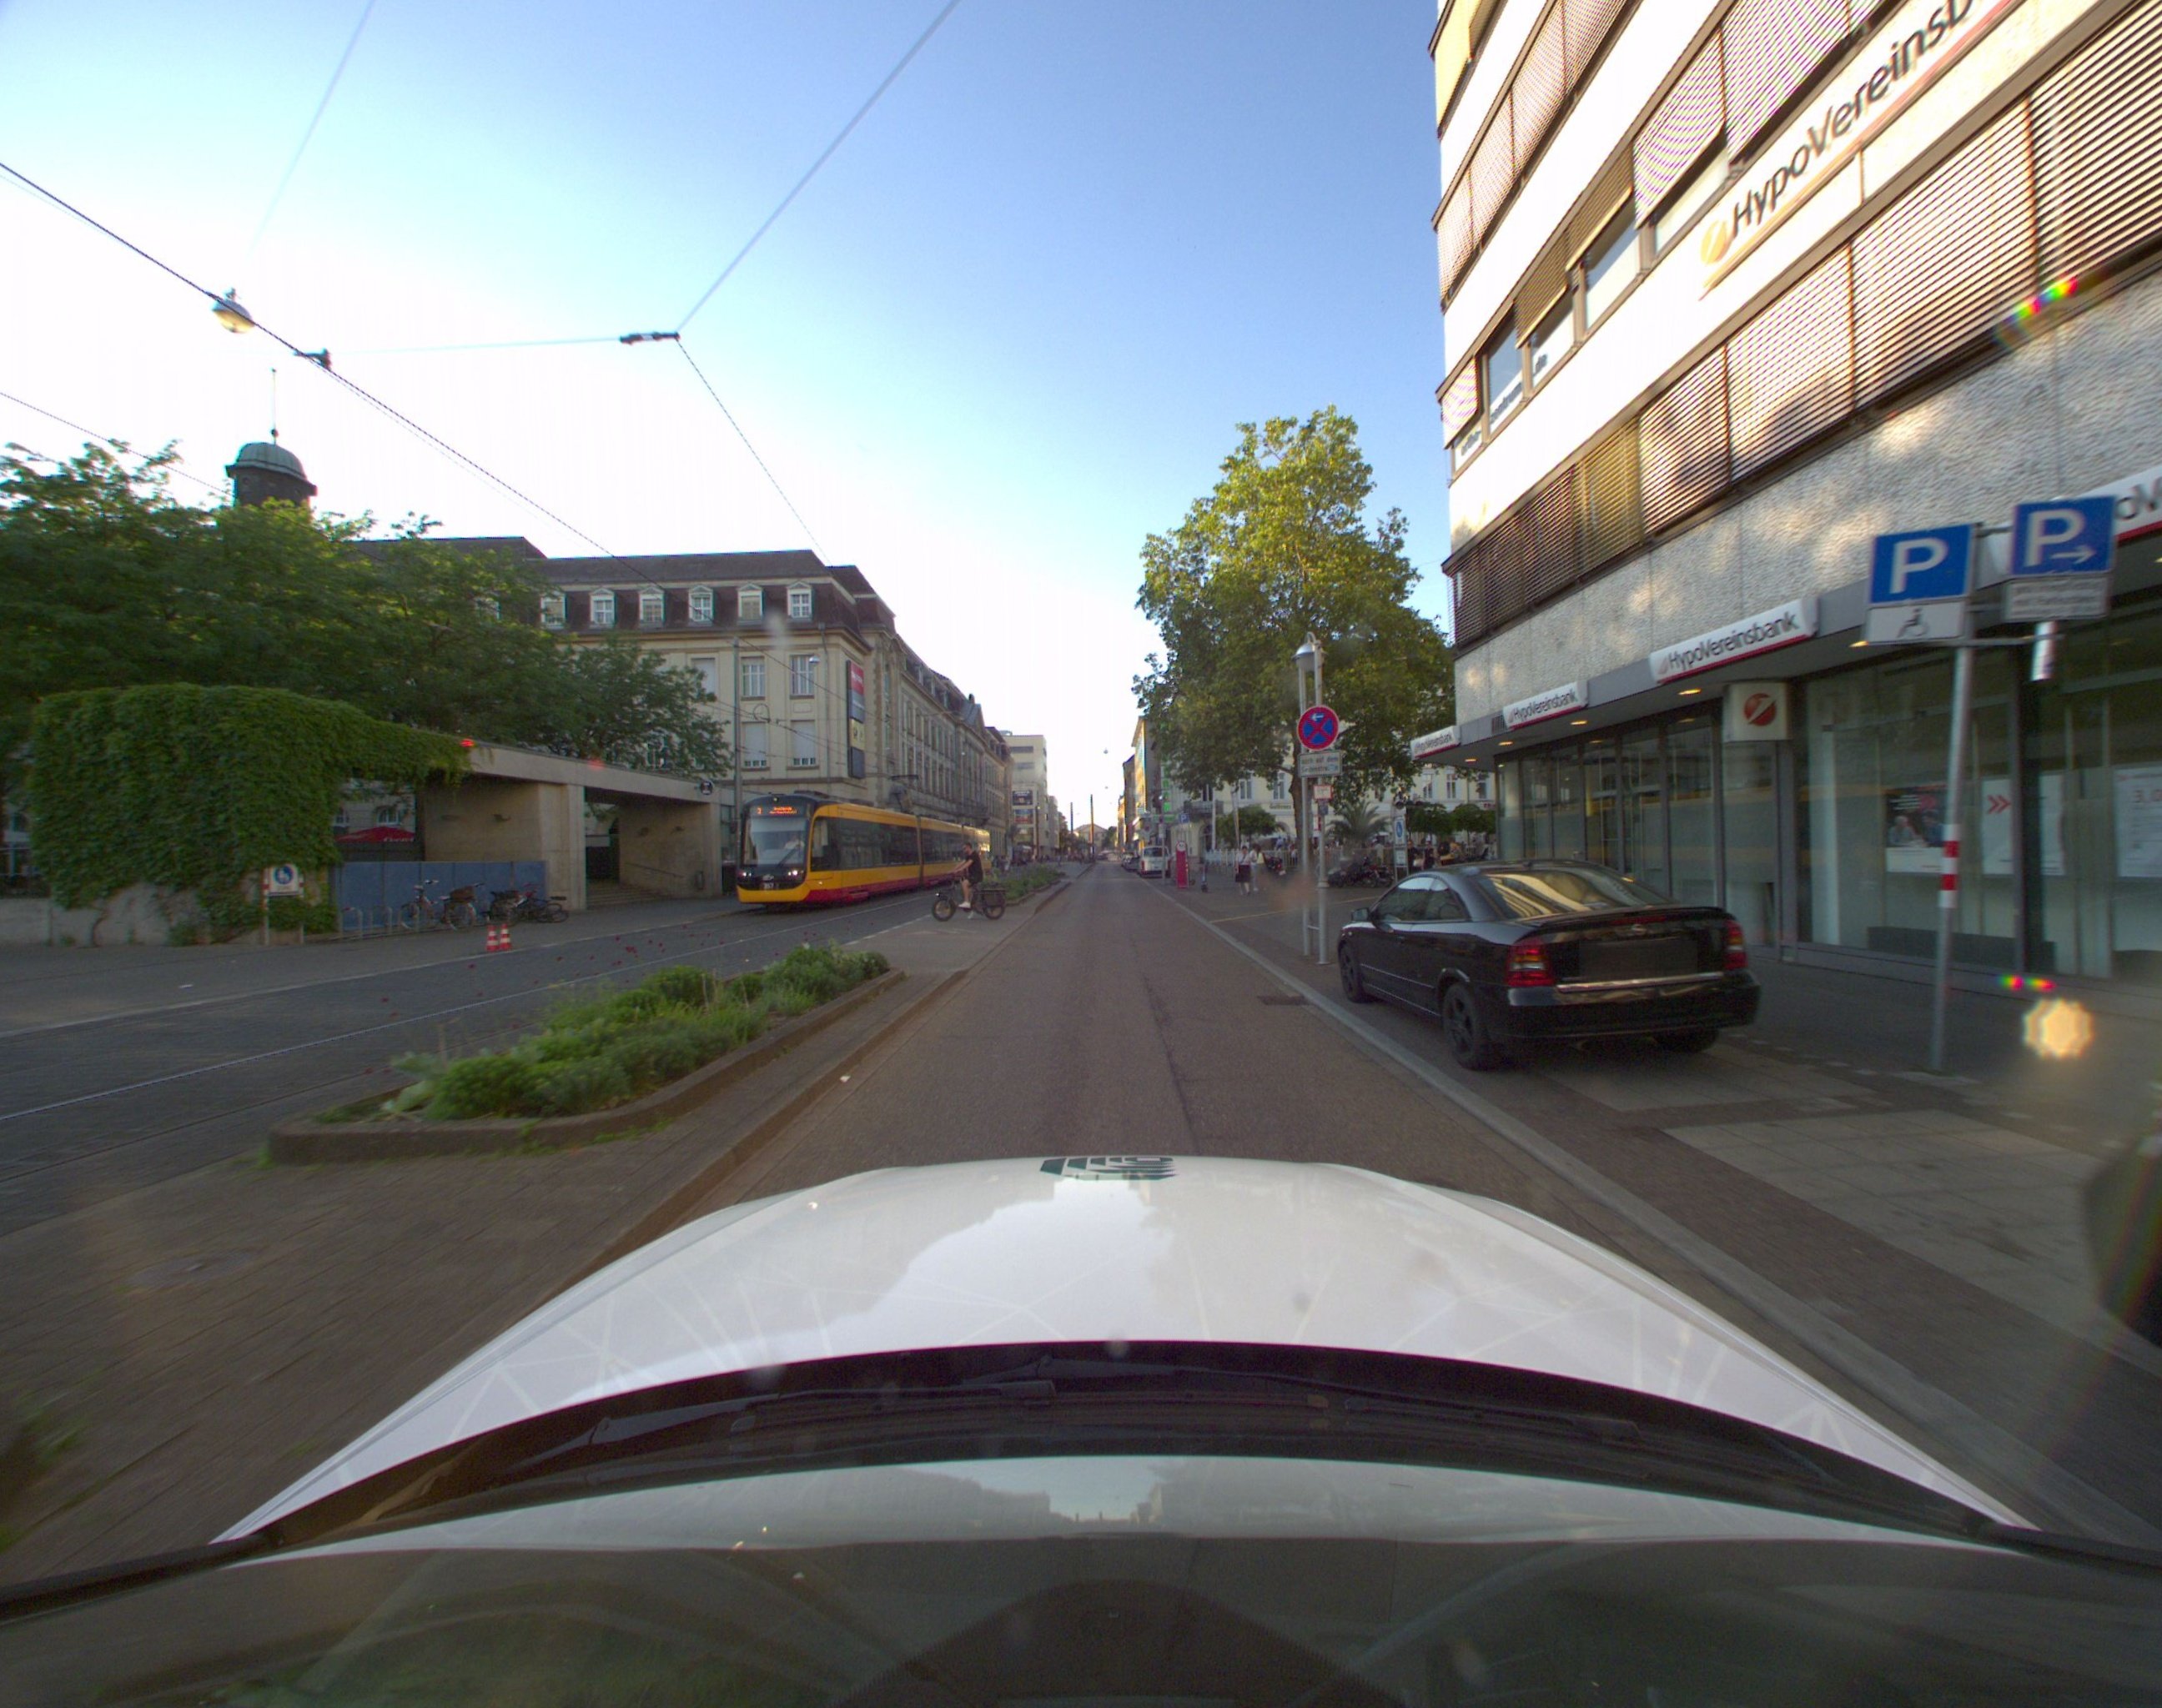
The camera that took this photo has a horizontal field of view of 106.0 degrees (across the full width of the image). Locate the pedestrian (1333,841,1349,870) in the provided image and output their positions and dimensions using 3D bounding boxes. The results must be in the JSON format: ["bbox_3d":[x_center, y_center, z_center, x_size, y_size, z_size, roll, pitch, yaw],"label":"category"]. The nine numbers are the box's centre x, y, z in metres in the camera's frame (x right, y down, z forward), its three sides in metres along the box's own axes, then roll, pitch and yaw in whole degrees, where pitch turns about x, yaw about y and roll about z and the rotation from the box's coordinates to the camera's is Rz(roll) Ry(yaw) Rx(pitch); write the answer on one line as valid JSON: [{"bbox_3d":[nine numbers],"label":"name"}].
[{"bbox_3d":[11.889,0.088,37.235,0.639,1.285,0.744,-2,-2,17],"label":"pedestrian"}]

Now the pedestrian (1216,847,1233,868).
[{"bbox_3d":[9.227,0.254,52.533,0.899,1.314,0.966,-2,-2,1],"label":"pedestrian"}]

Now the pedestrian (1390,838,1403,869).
[{"bbox_3d":[14.524,-0.038,37.517,0.470,1.400,0.542,-2,-2,17],"label":"pedestrian"}]

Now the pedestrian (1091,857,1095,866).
[{"bbox_3d":[1.934,1.228,131.986,0.611,1.523,0.619,-1,-2,-7],"label":"pedestrian"}]

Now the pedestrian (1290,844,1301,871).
[{"bbox_3d":[10.417,0.176,39.531,0.470,1.285,0.542,-2,-2,16],"label":"pedestrian"}]

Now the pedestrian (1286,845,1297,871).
[{"bbox_3d":[10.398,0.197,40.156,0.470,1.285,0.542,-2,-2,16],"label":"pedestrian"}]

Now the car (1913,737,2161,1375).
[{"bbox_3d":[3.437,0.500,0.247,1.769,1.538,4.580,-2,1,1],"label":"car"}]

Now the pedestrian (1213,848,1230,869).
[{"bbox_3d":[9.223,0.286,53.574,0.899,1.306,0.966,-2,-2,1],"label":"pedestrian"}]

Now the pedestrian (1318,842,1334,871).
[{"bbox_3d":[11.275,0.118,37.490,0.639,1.285,0.744,-2,-2,17],"label":"pedestrian"}]

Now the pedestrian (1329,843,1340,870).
[{"bbox_3d":[12.064,0.122,38.727,0.470,1.285,0.542,-2,-2,17],"label":"pedestrian"}]

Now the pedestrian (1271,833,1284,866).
[{"bbox_3d":[13.844,-0.319,57.392,0.614,2.305,0.577,-1,-2,-20],"label":"pedestrian"}]

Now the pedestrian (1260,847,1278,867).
[{"bbox_3d":[12.216,0.220,52.865,0.960,1.267,0.905,-2,-2,1],"label":"pedestrian"}]

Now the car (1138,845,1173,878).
[{"bbox_3d":[4.669,0.474,51.796,1.908,1.981,4.422,-2,-1,1],"label":"car"}]

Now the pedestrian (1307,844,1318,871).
[{"bbox_3d":[11.246,0.171,39.522,0.470,1.285,0.542,-2,-2,17],"label":"pedestrian"}]

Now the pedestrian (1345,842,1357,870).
[{"bbox_3d":[12.683,0.085,38.277,0.470,1.285,0.542,-2,-2,17],"label":"pedestrian"}]

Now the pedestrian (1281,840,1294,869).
[{"bbox_3d":[11.085,0.032,43.674,0.614,1.571,0.633,-2,-2,16],"label":"pedestrian"}]

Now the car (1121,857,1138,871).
[{"bbox_3d":[6.049,1.263,102.753,1.986,1.667,4.421,-2,-2,1],"label":"car"}]

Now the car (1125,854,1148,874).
[{"bbox_3d":[5.180,0.940,76.692,1.986,1.761,4.422,-2,-1,1],"label":"car"}]

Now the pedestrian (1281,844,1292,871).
[{"bbox_3d":[10.310,0.193,40.769,0.470,1.330,0.542,-2,-2,16],"label":"pedestrian"}]

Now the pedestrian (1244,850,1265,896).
[{"bbox_3d":[6.547,0.712,30.762,0.611,1.717,0.662,-2,-2,3],"label":"pedestrian"}]

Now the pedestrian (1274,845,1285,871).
[{"bbox_3d":[10.390,0.217,42.616,0.470,1.305,0.542,-2,-2,16],"label":"pedestrian"}]

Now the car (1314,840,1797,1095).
[{"bbox_3d":[3.448,0.685,7.030,1.649,1.380,4.342,-5,0,2],"label":"car"}]

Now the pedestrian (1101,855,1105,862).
[{"bbox_3d":[5.906,1.222,221.771,0.773,1.734,0.818,-3,-3,41],"label":"pedestrian"}]

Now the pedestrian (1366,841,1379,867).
[{"bbox_3d":[14.688,0.020,41.054,0.535,1.285,0.477,-2,-2,11],"label":"pedestrian"}]

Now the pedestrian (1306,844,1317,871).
[{"bbox_3d":[11.378,0.188,40.154,0.470,1.285,0.542,-2,-2,16],"label":"pedestrian"}]

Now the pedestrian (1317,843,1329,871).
[{"bbox_3d":[11.635,0.153,39.147,0.473,1.285,0.528,-2,-2,18],"label":"pedestrian"}]

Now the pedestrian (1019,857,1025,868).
[{"bbox_3d":[-8.426,1.230,117.110,0.777,1.580,0.676,-1,0,-10],"label":"pedestrian"}]

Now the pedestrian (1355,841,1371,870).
[{"bbox_3d":[12.918,0.060,37.315,0.639,1.285,0.744,-2,-2,17],"label":"pedestrian"}]

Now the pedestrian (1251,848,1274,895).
[{"bbox_3d":[6.700,0.648,30.094,0.675,1.717,0.655,-2,-2,4],"label":"pedestrian"}]

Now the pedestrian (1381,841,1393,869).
[{"bbox_3d":[14.456,0.041,38.481,0.470,1.285,0.542,-2,-2,17],"label":"pedestrian"}]

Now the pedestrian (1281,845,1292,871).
[{"bbox_3d":[10.447,0.217,41.347,0.470,1.285,0.542,-2,-2,16],"label":"pedestrian"}]

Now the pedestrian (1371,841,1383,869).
[{"bbox_3d":[13.762,0.052,37.870,0.470,1.285,0.542,-2,-2,17],"label":"pedestrian"}]

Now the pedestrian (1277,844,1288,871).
[{"bbox_3d":[10.374,0.174,41.996,0.470,1.364,0.542,-2,-2,16],"label":"pedestrian"}]

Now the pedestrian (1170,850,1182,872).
[{"bbox_3d":[7.777,0.568,66.679,0.785,1.751,0.893,-1,-2,-6],"label":"pedestrian"}]

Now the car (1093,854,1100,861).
[{"bbox_3d":[4.317,0.953,223.200,1.754,1.827,3.571,-2,-2,1],"label":"car"}]
